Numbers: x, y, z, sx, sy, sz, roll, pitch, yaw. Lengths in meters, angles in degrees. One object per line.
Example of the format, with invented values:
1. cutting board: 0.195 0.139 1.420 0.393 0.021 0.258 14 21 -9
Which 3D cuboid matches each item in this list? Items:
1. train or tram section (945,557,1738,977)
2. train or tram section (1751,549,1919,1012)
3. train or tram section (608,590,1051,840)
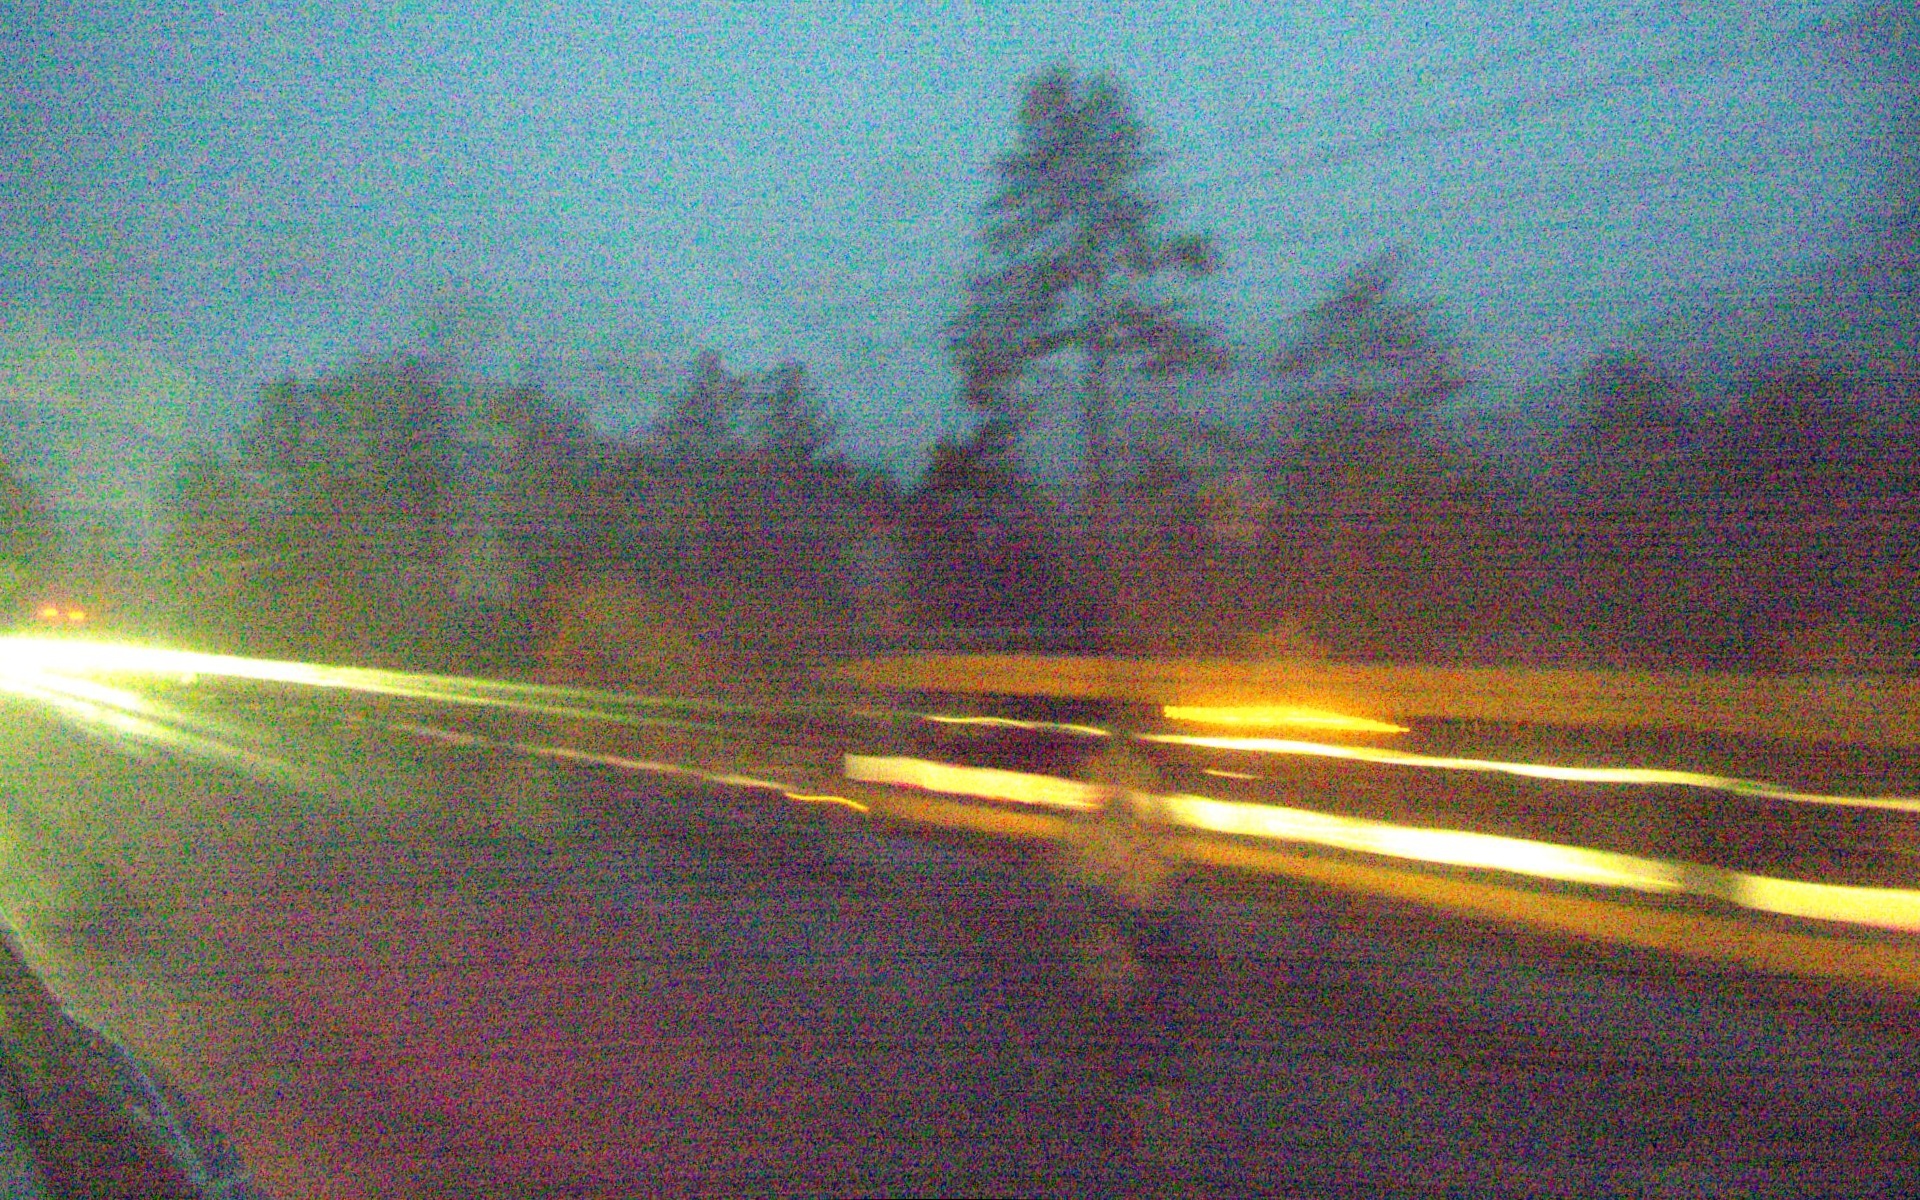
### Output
1. train or tram section: 3.955 1.483 12.289 8.547 3.486 2.815 -2 -2 40
2. train or tram section: 10.648 1.295 6.567 8.547 3.486 2.815 -2 -2 40
3. train or tram section: -2.697 1.707 17.990 8.547 3.486 2.815 -2 -2 40
